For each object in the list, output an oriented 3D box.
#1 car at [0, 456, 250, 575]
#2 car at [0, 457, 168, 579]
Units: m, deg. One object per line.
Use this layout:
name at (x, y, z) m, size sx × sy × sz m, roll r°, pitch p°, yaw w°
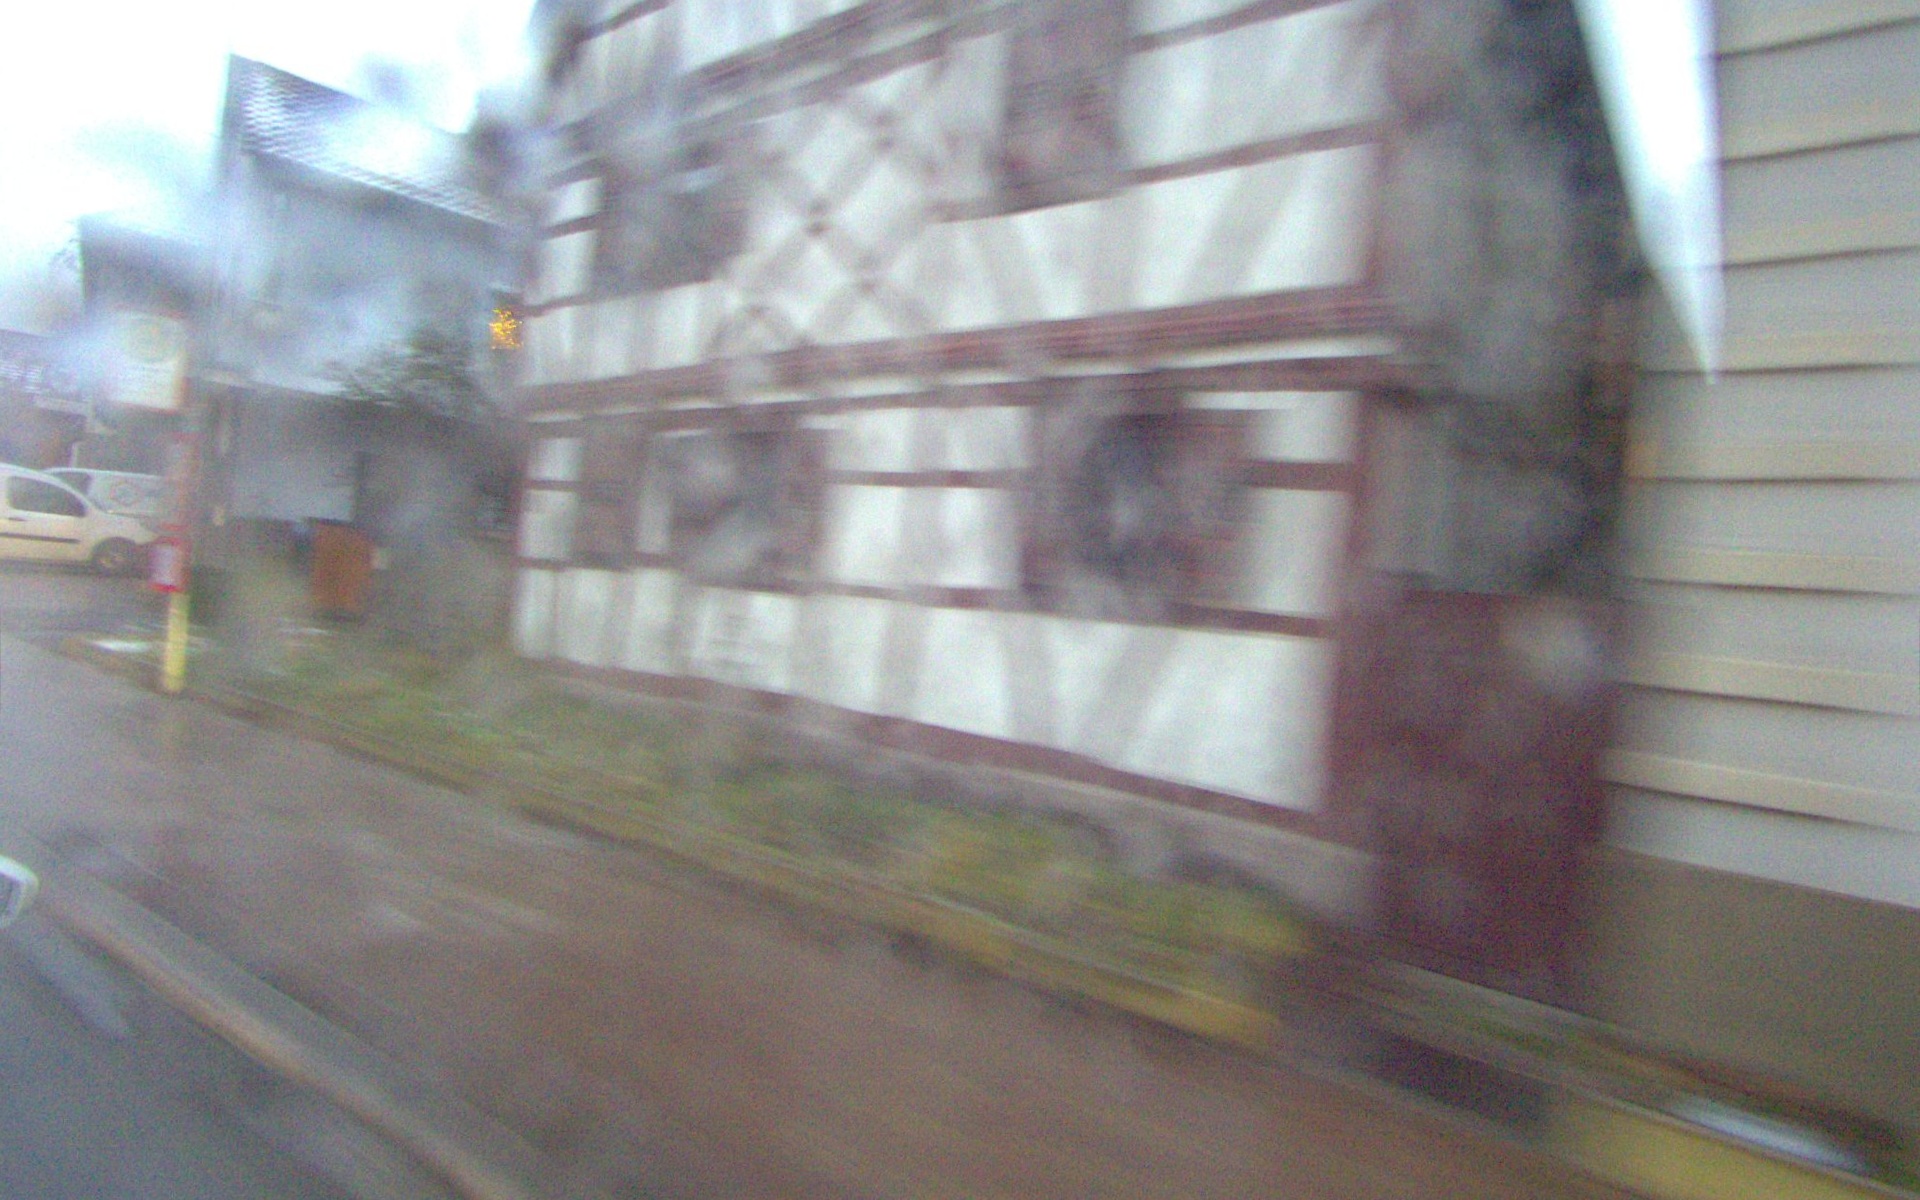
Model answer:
car at (-17.422, -1.697, 20.136) m, size 4.963 × 1.914 × 1.912 m, roll 4°, pitch 2°, yaw -45°
car at (-16.405, -1.483, 17.321) m, size 1.838 × 1.867 × 4.033 m, roll 6°, pitch 1°, yaw 41°
